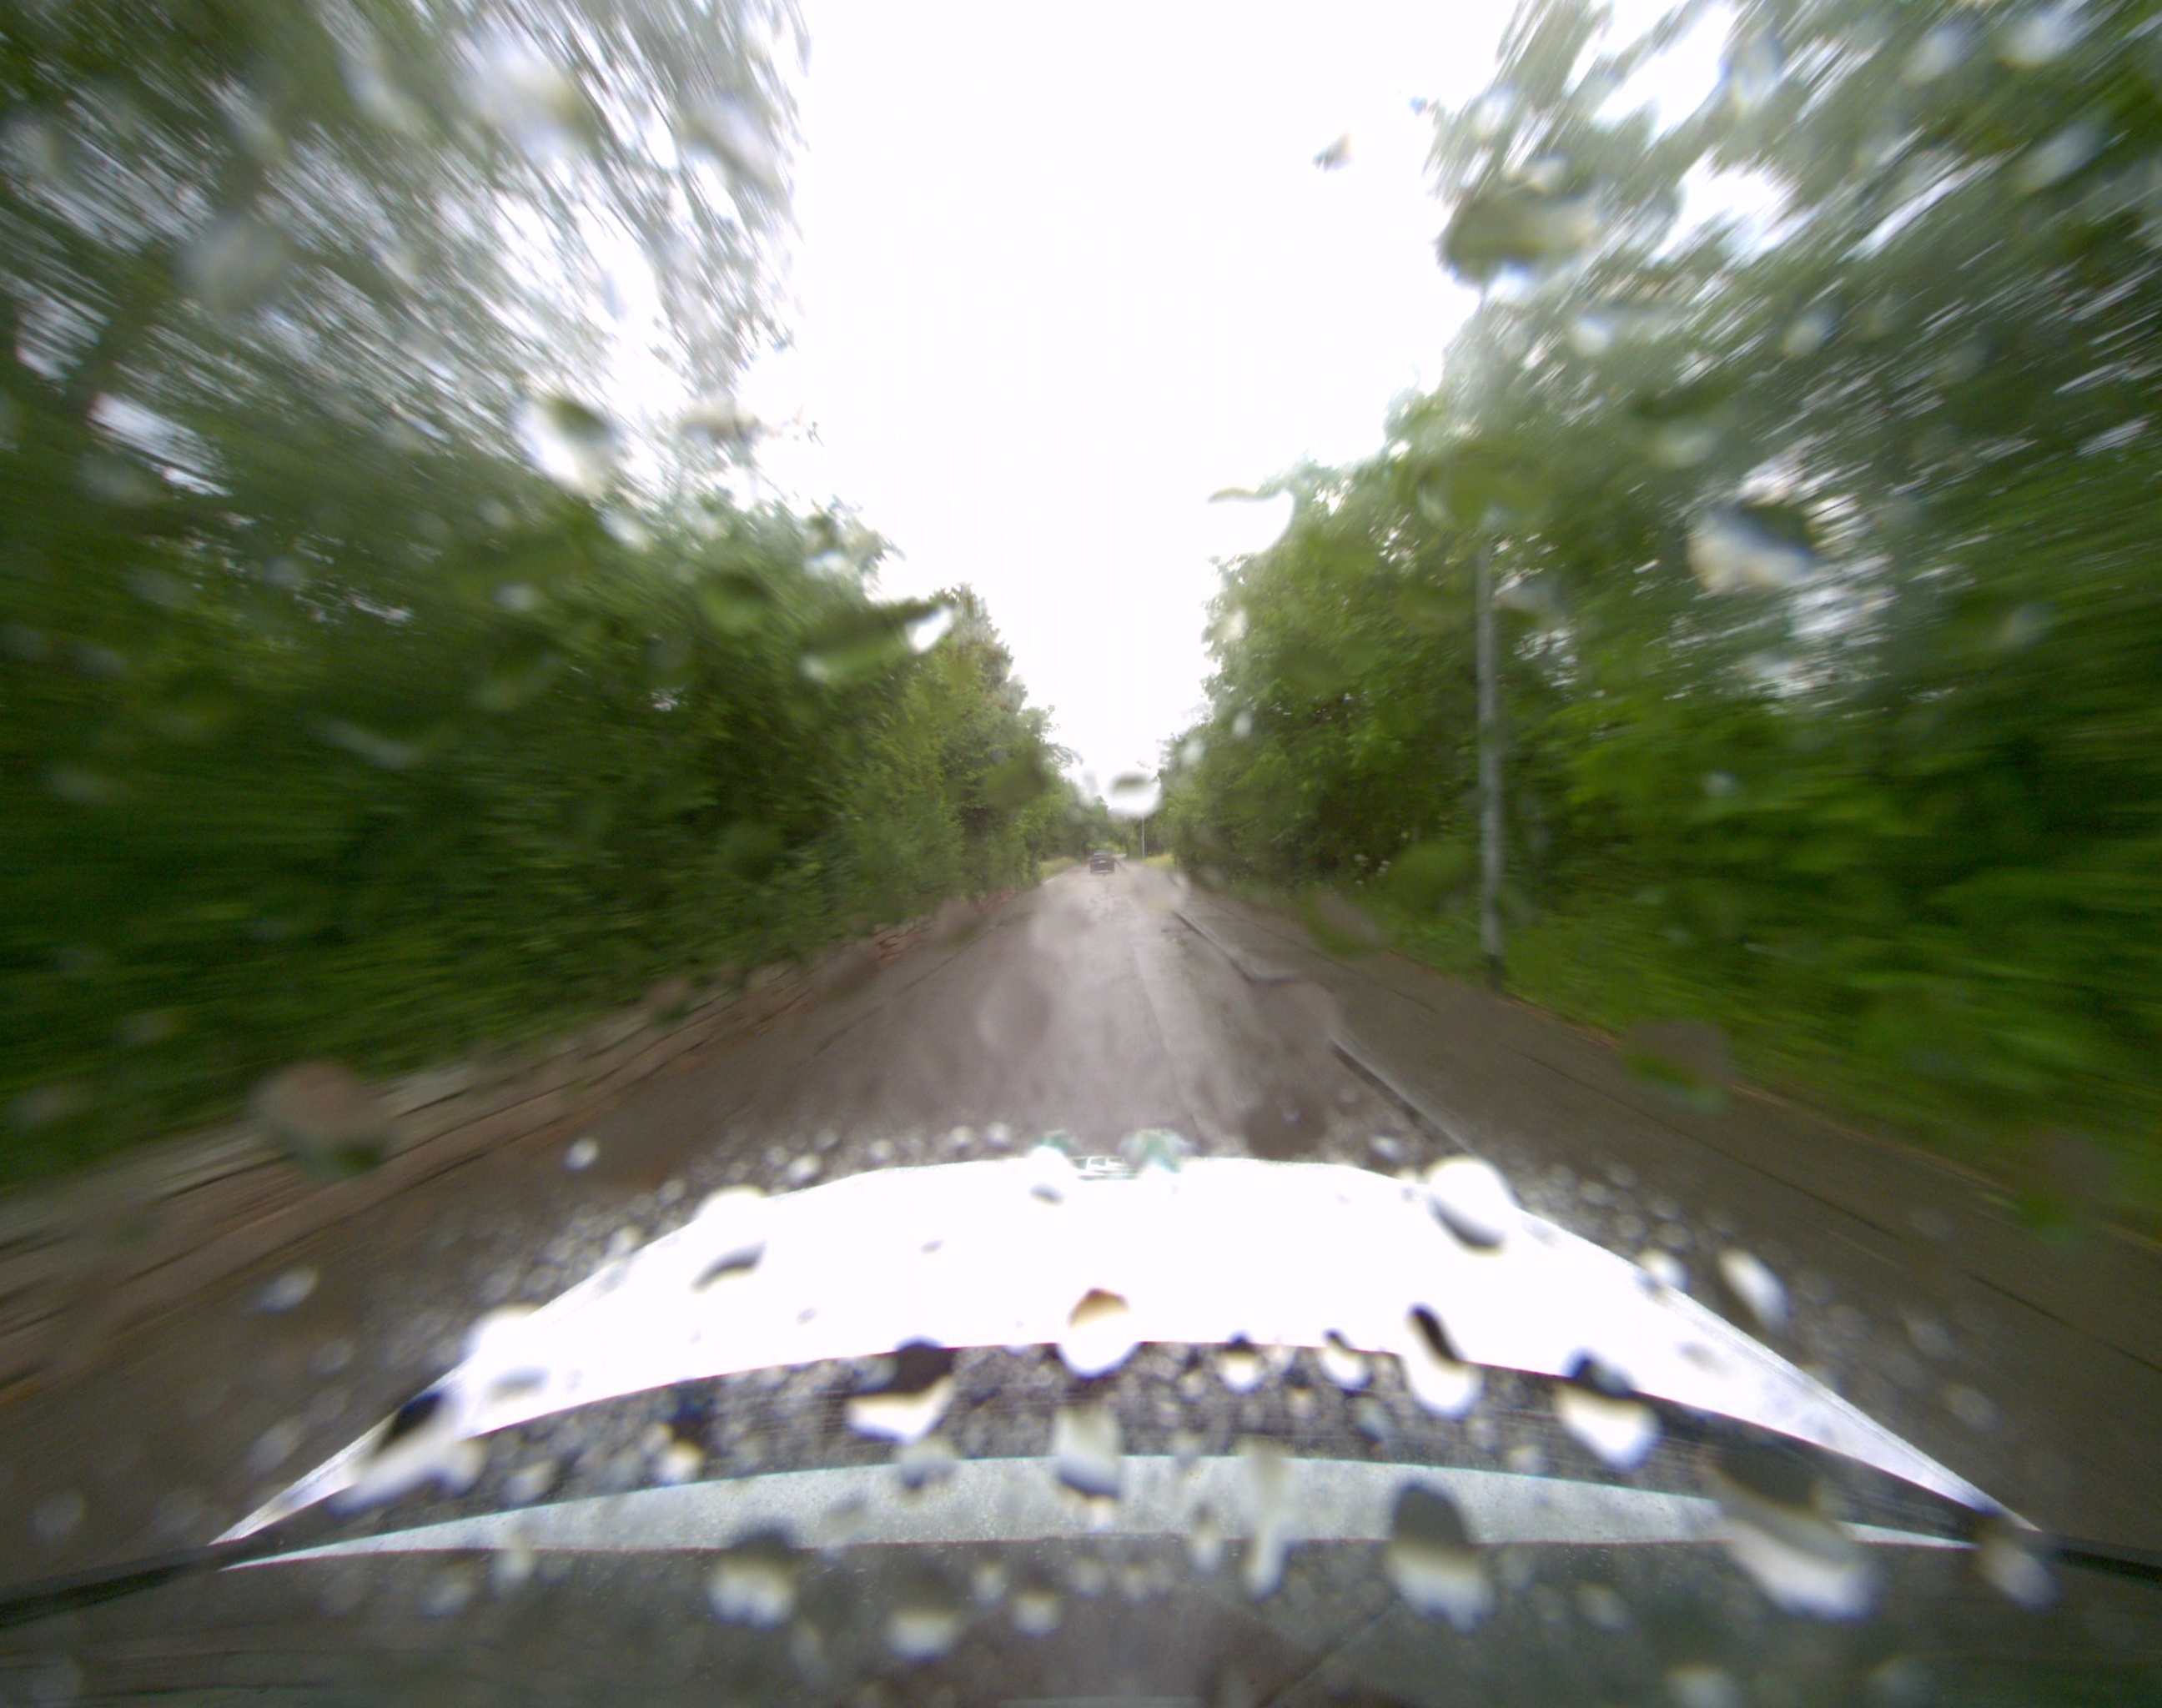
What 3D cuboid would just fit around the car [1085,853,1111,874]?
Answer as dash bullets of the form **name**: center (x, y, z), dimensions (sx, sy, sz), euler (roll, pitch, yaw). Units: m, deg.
- **car**: center (1.269, 0.676, 58.990), dimensions (1.627, 1.450, 3.548), euler (-2, -1, 4)
